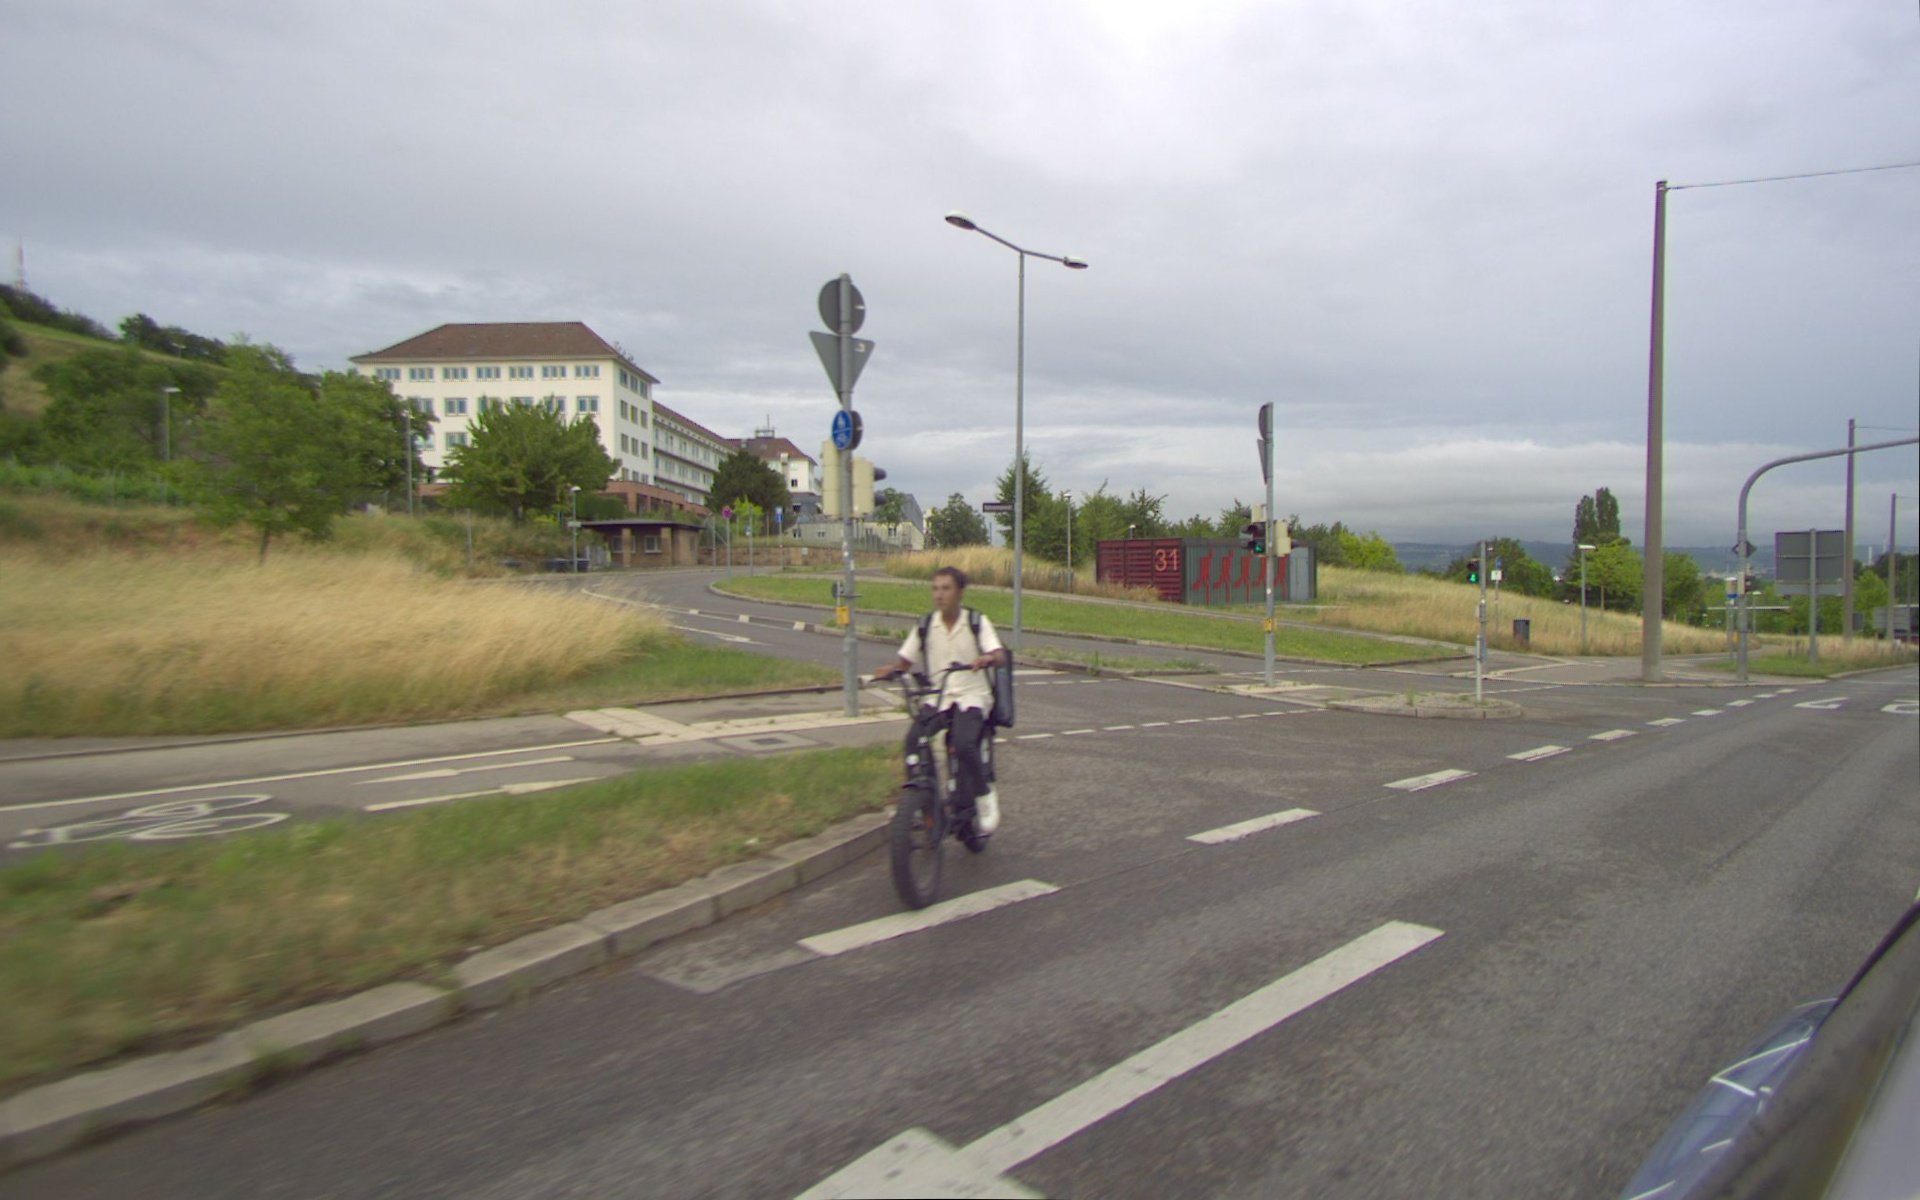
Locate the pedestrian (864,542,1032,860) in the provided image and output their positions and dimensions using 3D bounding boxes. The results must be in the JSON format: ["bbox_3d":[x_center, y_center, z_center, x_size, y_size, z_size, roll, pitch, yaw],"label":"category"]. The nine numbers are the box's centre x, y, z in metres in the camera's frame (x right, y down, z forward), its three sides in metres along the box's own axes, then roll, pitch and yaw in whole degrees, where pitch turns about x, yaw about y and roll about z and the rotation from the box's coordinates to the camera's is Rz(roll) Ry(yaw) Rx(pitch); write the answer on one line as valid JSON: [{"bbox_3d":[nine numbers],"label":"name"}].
[{"bbox_3d":[-0.041,0.502,5.607,0.627,1.590,0.889,1,0,20],"label":"pedestrian"}]

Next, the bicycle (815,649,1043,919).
[{"bbox_3d":[-0.088,0.876,5.498,0.627,1.119,1.741,1,0,20],"label":"bicycle"}]
